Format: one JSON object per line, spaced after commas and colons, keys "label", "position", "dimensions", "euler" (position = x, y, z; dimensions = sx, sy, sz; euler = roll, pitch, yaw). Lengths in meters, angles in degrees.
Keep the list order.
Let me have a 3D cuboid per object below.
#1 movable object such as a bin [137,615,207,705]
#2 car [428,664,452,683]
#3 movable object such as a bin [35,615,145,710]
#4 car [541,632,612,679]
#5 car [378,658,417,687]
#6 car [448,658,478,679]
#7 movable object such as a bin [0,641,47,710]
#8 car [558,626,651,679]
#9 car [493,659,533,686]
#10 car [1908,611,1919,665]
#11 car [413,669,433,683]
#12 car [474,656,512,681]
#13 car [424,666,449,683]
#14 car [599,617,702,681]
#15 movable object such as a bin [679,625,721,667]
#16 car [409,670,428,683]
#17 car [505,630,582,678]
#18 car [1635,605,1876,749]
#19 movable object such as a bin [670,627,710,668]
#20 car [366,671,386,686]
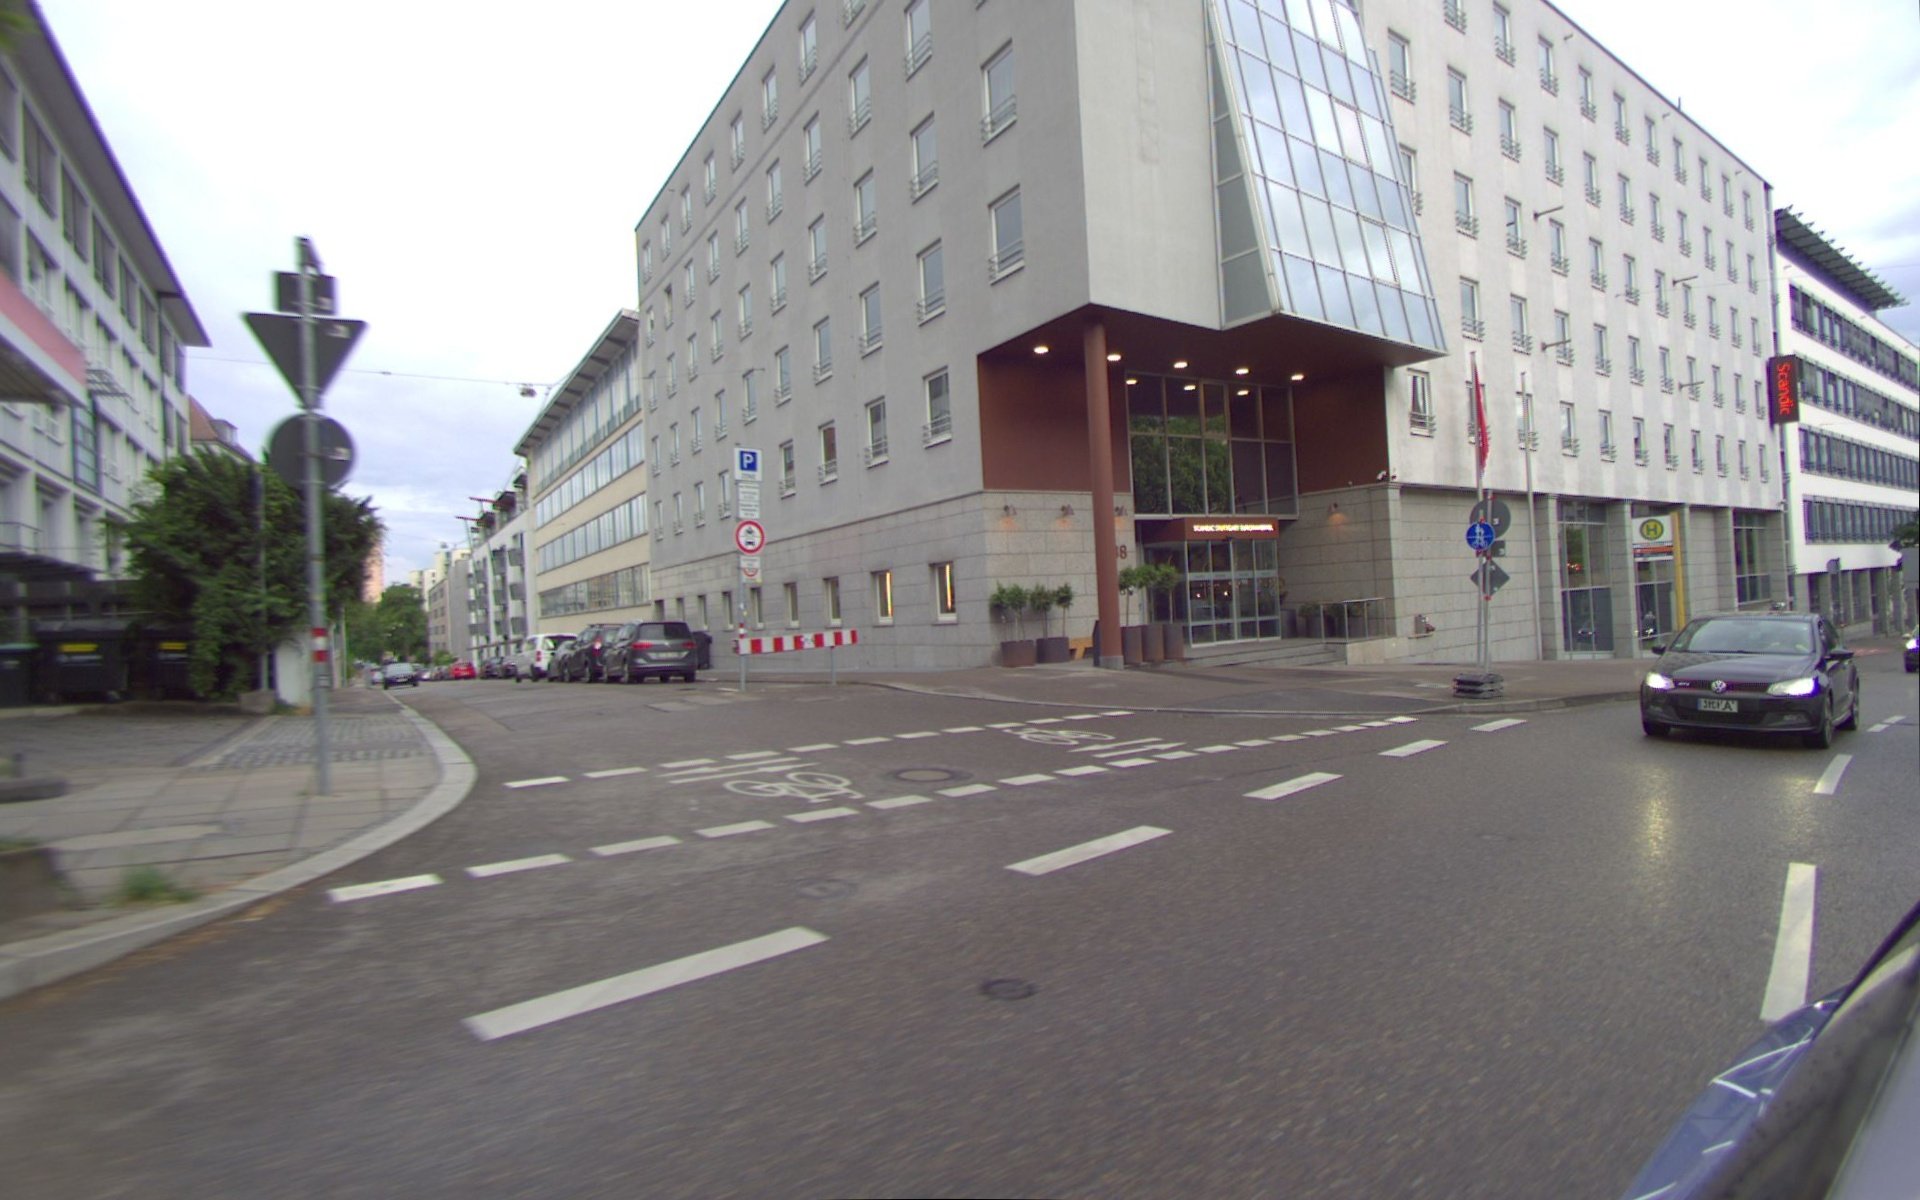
{"label": "movable object such as a bin", "position": [-14.275, 1.068, 18.355], "dimensions": [0.895, 1.586, 0.767], "euler": [0, -3, -32]}
{"label": "car", "position": [-47.255, 6.697, 91.936], "dimensions": [1.764, 1.530, 4.002], "euler": [-1, -3, -29]}
{"label": "movable object such as a bin", "position": [-15.230, 1.071, 17.758], "dimensions": [1.333, 1.586, 0.767], "euler": [0, -3, -32]}
{"label": "car", "position": [-13.595, 1.980, 35.737], "dimensions": [1.764, 1.530, 4.002], "euler": [1, -4, -30]}
{"label": "car", "position": [-33.492, 4.323, 60.189], "dimensions": [1.765, 1.530, 4.500], "euler": [-1, -4, -32]}
{"label": "car", "position": [-39.701, 5.488, 80.851], "dimensions": [1.765, 1.530, 4.000], "euler": [-1, -4, -32]}
{"label": "movable object such as a bin", "position": [-16.155, 1.287, 17.350], "dimensions": [0.647, 1.155, 0.454], "euler": [0, -3, -32]}
{"label": "car", "position": [-11.004, 1.646, 31.193], "dimensions": [1.765, 1.530, 3.999], "euler": [1, -4, -34]}
{"label": "car", "position": [-27.568, 4.493, 62.366], "dimensions": [1.764, 1.530, 4.001], "euler": [-1, -3, -31]}
{"label": "car", "position": [28.463, 0.976, 28.597], "dimensions": [3.638, 1.460, 1.750], "euler": [-1, -4, -37]}
{"label": "car", "position": [-64.104, 9.090, 120.766], "dimensions": [1.765, 1.530, 4.000], "euler": [-1, -4, -32]}
{"label": "car", "position": [-31.693, 4.635, 68.564], "dimensions": [1.765, 1.530, 4.500], "euler": [-1, -4, -32]}
{"label": "car", "position": [-51.119, 7.253, 98.796], "dimensions": [1.765, 1.530, 4.000], "euler": [-1, -4, -32]}
{"label": "car", "position": [-8.230, 1.317, 26.680], "dimensions": [1.764, 1.530, 4.002], "euler": [1, -4, -30]}
{"label": "movable object such as a bin", "position": [-9.604, 1.707, 37.299], "dimensions": [1.160, 1.452, 1.185], "euler": [-1, -4, -31]}
{"label": "car", "position": [-68.364, 9.681, 127.755], "dimensions": [1.765, 1.530, 4.000], "euler": [-1, -4, -32]}
{"label": "car", "position": [-16.971, 2.236, 41.110], "dimensions": [1.823, 1.815, 4.611], "euler": [1, -4, -36]}
{"label": "car", "position": [9.413, 0.783, 11.870], "dimensions": [3.784, 1.418, 1.675], "euler": [1, -1, -43]}
{"label": "movable object such as a bin", "position": [-10.227, 1.794, 38.323], "dimensions": [1.160, 1.452, 1.185], "euler": [-1, -4, -31]}
{"label": "car", "position": [-66.291, 8.921, 114.806], "dimensions": [1.765, 1.530, 4.500], "euler": [-1, -4, -32]}
